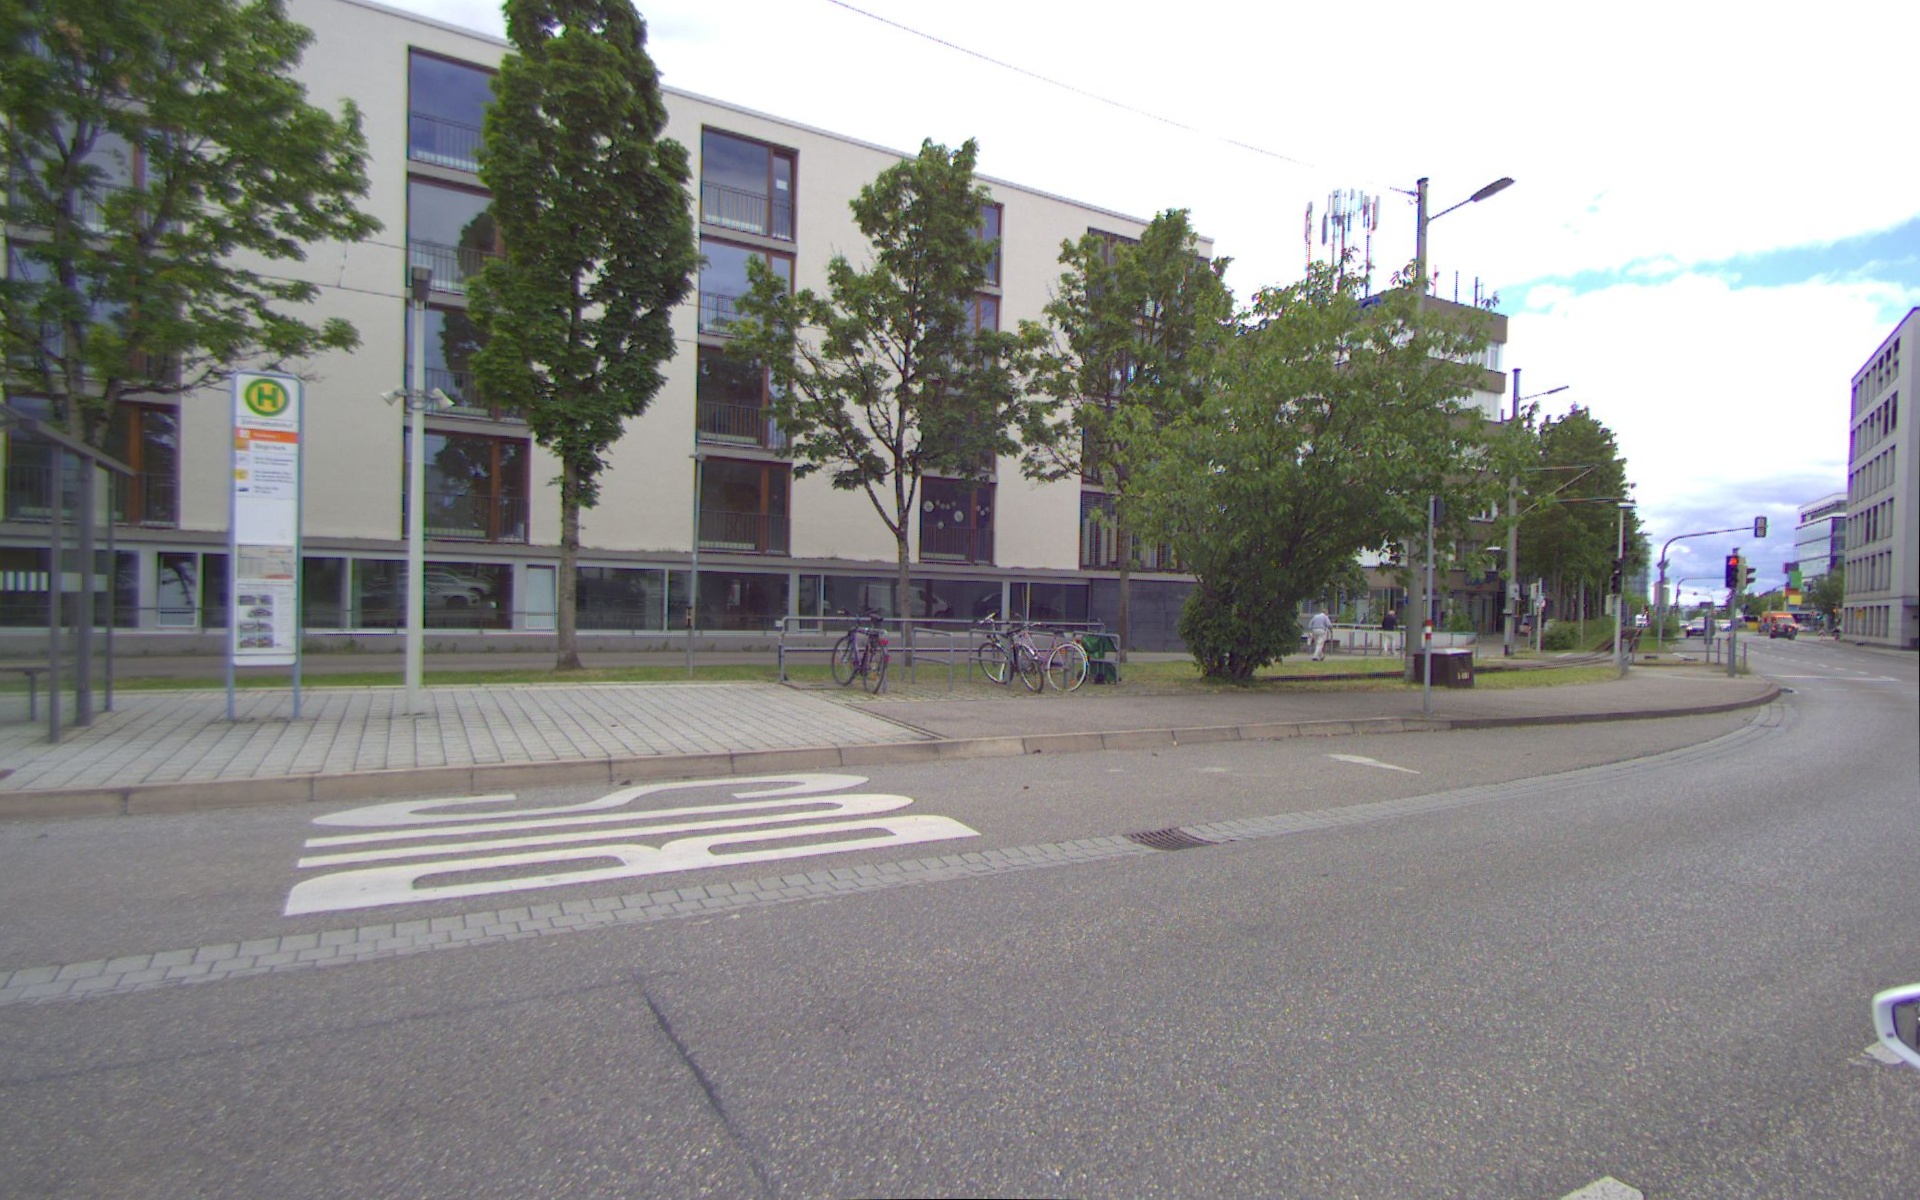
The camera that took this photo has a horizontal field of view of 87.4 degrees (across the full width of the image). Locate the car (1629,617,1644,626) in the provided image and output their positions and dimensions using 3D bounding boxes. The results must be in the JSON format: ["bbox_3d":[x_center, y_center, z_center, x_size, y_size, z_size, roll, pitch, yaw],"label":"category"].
[{"bbox_3d":[135.269,4.276,200.872,1.886,1.748,4.163,3,2,28],"label":"car"}]

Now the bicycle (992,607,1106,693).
[{"bbox_3d":[1.285,0.705,14.953,0.624,1.121,2.090,1,1,-28],"label":"bicycle"}]

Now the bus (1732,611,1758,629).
[{"bbox_3d":[148.515,3.724,190.052,3.041,2.968,10.310,3,2,34],"label":"bus"}]

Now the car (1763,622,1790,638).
[{"bbox_3d":[81.383,2.967,100.107,1.878,1.506,3.979,1,0,42],"label":"car"}]

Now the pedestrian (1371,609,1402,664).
[{"bbox_3d":[16.568,1.414,38.997,0.758,2.041,0.885,5,3,41],"label":"pedestrian"}]

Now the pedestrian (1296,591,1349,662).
[{"bbox_3d":[11.006,0.790,30.492,0.903,2.041,1.048,2,3,-29],"label":"pedestrian"}]

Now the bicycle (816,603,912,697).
[{"bbox_3d":[-1.343,0.640,13.684,0.580,1.121,1.920,1,1,-29],"label":"bicycle"}]

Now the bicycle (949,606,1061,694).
[{"bbox_3d":[0.617,0.692,14.686,0.624,1.121,2.089,1,1,-29],"label":"bicycle"}]

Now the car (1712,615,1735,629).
[{"bbox_3d":[108.978,3.137,143.395,1.886,1.748,4.163,3,2,28],"label":"car"}]

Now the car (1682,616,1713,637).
[{"bbox_3d":[64.399,2.317,87.743,1.825,1.718,3.990,1,0,32],"label":"car"}]

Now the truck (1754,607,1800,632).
[{"bbox_3d":[100.350,2.370,123.514,2.532,2.863,6.985,1,0,24],"label":"truck"}]

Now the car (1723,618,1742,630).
[{"bbox_3d":[128.254,3.959,166.789,1.886,1.748,4.163,3,2,28],"label":"car"}]
